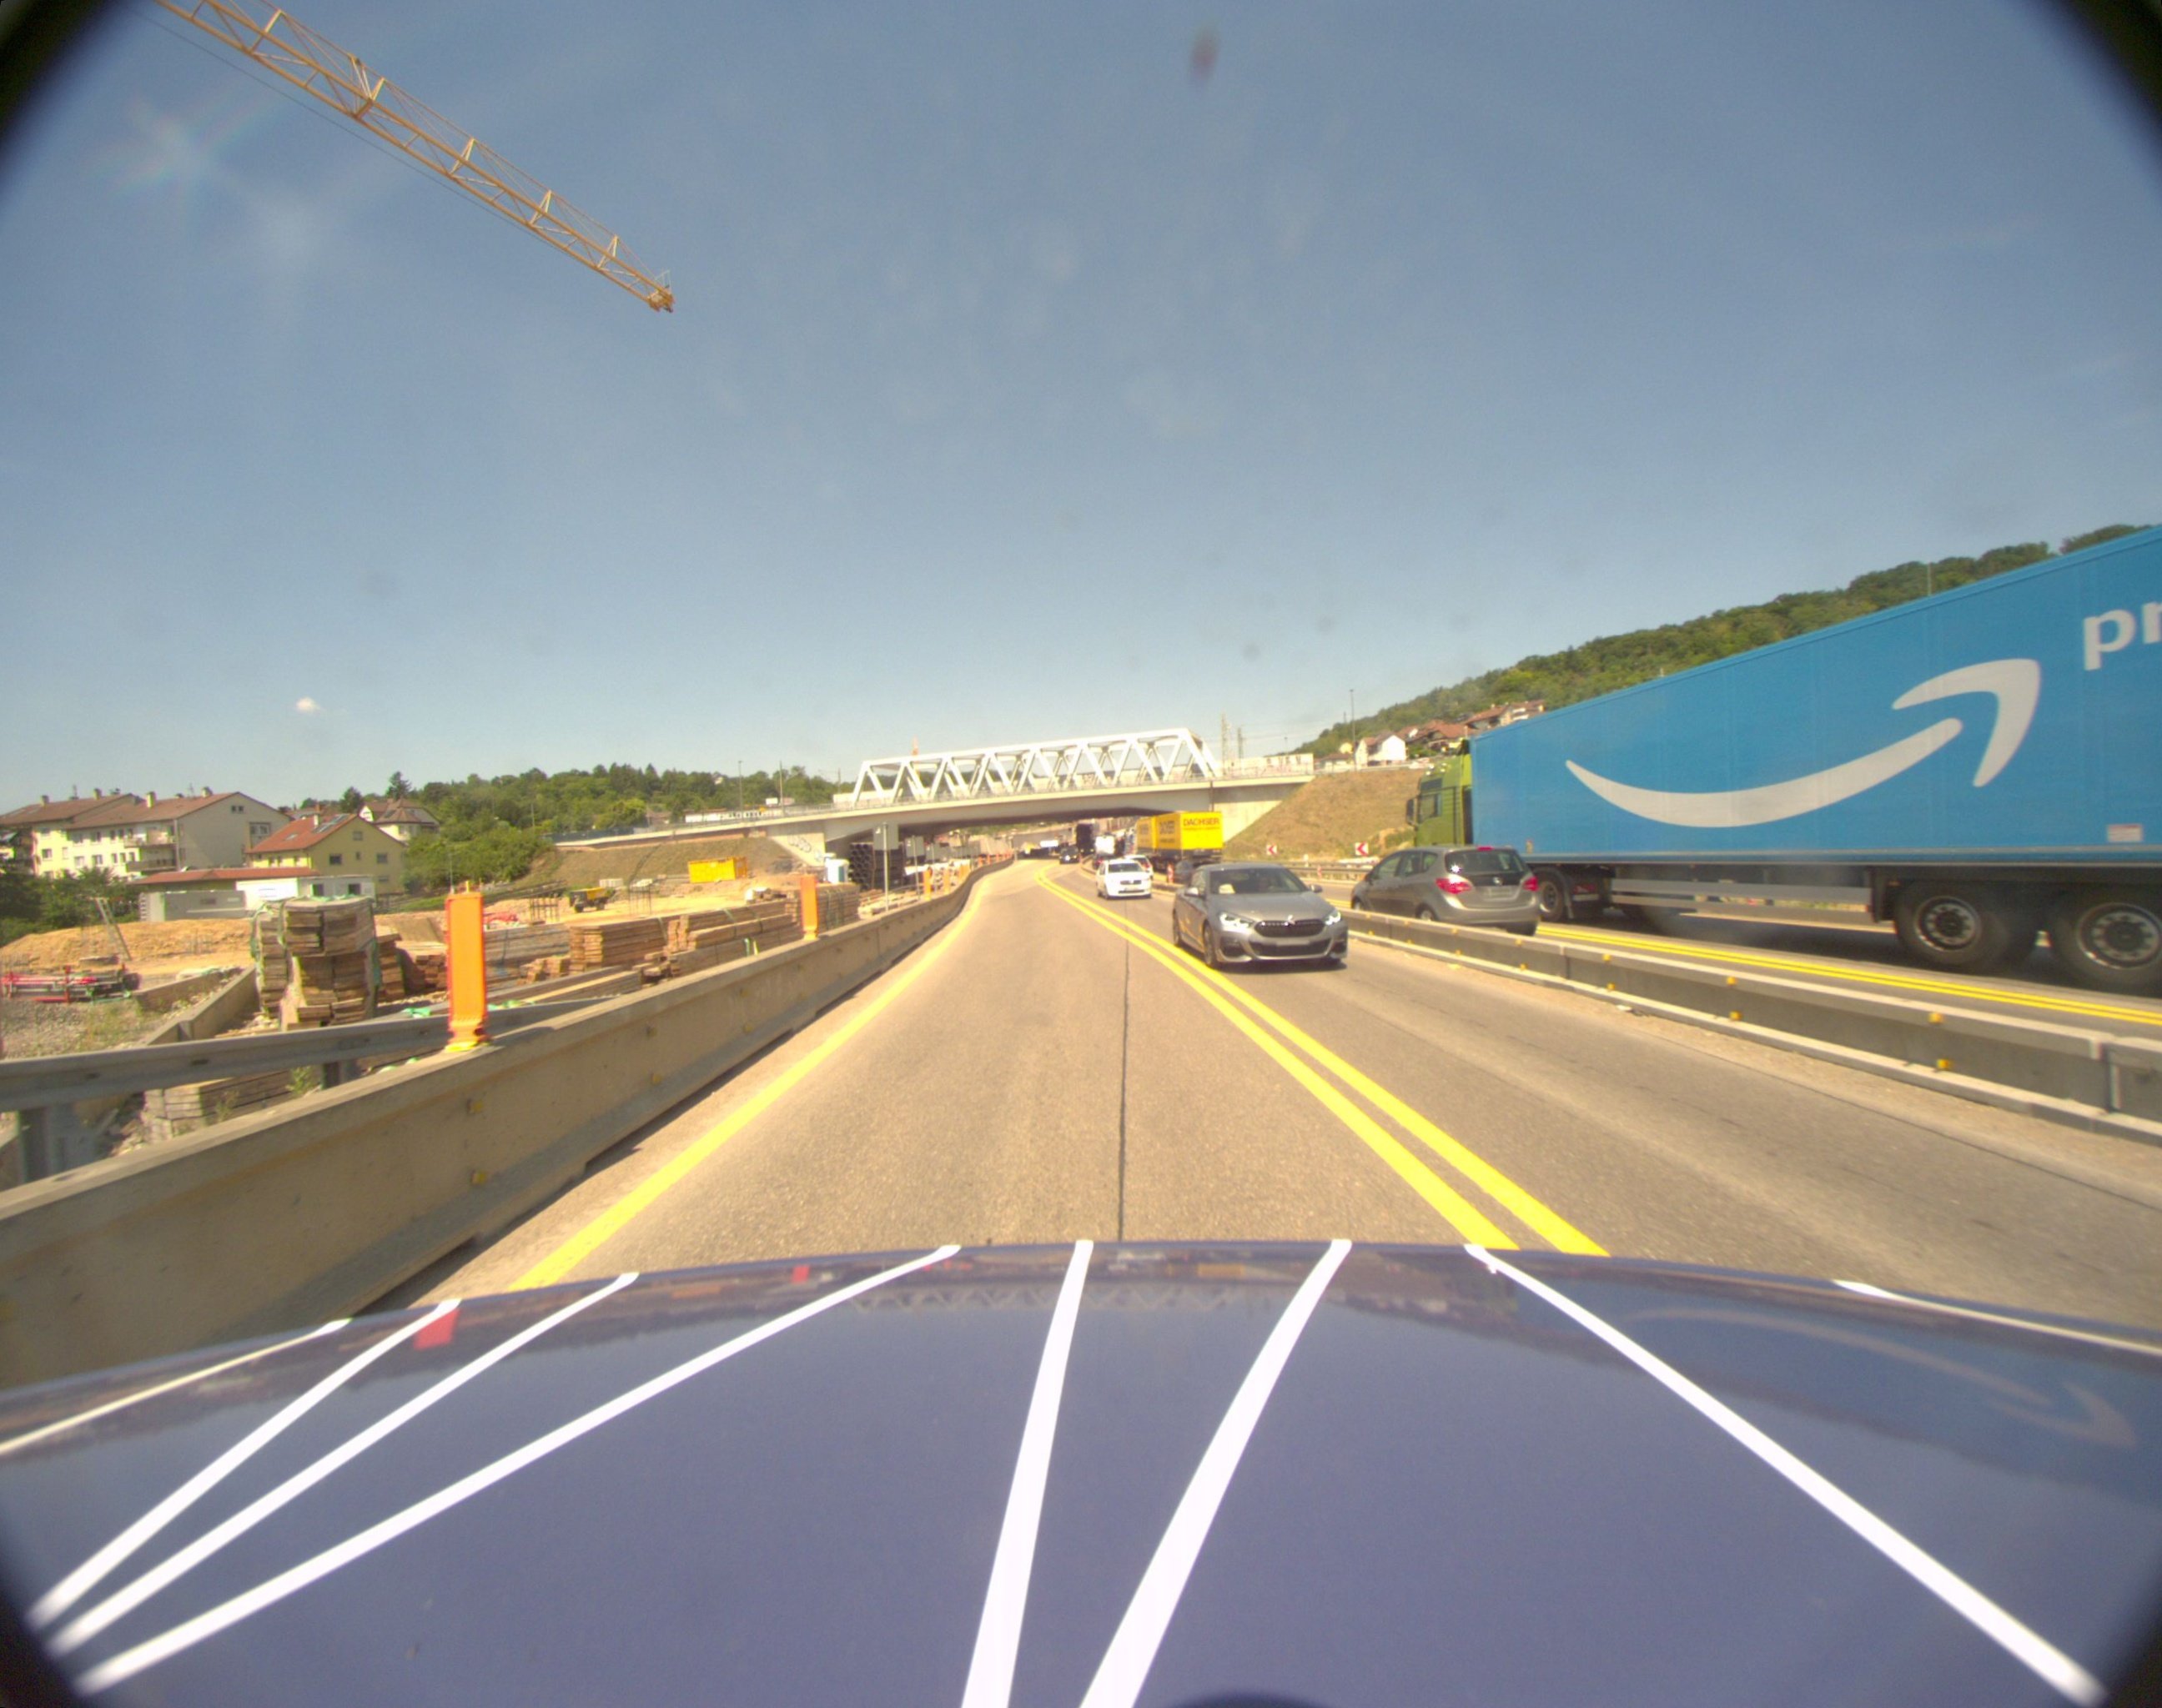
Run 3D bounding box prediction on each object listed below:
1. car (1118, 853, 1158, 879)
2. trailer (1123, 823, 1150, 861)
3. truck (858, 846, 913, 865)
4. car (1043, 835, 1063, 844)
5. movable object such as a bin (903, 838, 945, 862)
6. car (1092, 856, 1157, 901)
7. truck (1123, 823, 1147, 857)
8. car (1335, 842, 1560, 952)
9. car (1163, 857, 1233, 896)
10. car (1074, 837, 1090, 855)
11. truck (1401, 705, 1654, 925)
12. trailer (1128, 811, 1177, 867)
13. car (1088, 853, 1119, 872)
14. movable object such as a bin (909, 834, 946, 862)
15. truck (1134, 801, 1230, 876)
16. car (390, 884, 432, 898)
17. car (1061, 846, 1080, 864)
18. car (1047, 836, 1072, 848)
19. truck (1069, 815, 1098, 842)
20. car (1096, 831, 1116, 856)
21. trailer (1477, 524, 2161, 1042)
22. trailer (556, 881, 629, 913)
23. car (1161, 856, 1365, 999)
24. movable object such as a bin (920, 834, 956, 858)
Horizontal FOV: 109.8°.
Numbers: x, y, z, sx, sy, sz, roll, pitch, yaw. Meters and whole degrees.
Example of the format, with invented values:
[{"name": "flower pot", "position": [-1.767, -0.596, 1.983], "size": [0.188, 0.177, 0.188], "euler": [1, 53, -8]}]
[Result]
[{"name": "car", "position": [3.374, 0.707, 45.611], "size": [1.641, 1.477, 3.998], "euler": [-2, -1, -6]}, {"name": "trailer", "position": [5.990, -1.401, 83.350], "size": [2.531, 3.768, 10.243], "euler": [-3, 2, 3]}, {"name": "truck", "position": [-26.361, 0.185, 102.676], "size": [6.533, 2.062, 2.666], "euler": [-3, 3, 10]}, {"name": "car", "position": [-7.195, -3.686, 193.634], "size": [4.801, 1.759, 1.719], "euler": [-4, 3, 2]}, {"name": "movable object such as a bin", "position": [-22.948, -0.575, 111.136], "size": [5.248, 3.041, 2.496], "euler": [-4, 4, 11]}, {"name": "car", "position": [1.607, 0.894, 29.758], "size": [1.839, 1.465, 4.386], "euler": [-3, 1, -5]}, {"name": "truck", "position": [6.300, -1.673, 89.321], "size": [2.539, 3.801, 4.949], "euler": [-3, 2, 3]}, {"name": "car", "position": [6.286, 0.665, 13.676], "size": [1.825, 1.575, 4.300], "euler": [-3, 0, -1]}, {"name": "car", "position": [4.819, 0.885, 31.899], "size": [1.826, 1.427, 4.581], "euler": [-3, 0, -5]}, {"name": "car", "position": [0.180, -1.034, 98.849], "size": [1.998, 2.003, 3.997], "euler": [-3, 4, 1]}, {"name": "truck", "position": [9.960, -0.814, 17.572], "size": [2.633, 4.246, 4.729], "euler": [-4, 1, -4]}, {"name": "trailer", "position": [5.673, -1.217, 61.123], "size": [2.874, 4.206, 5.214], "euler": [-3, 2, -6]}, {"name": "car", "position": [1.738, 0.610, 59.970], "size": [1.682, 1.354, 4.500], "euler": [-3, 1, -7]}, {"name": "movable object such as a bin", "position": [-21.620, -0.899, 106.822], "size": [3.886, 3.524, 2.904], "euler": [-3, 4, 18]}, {"name": "truck", "position": [6.548, -1.005, 52.805], "size": [2.815, 4.317, 15.363], "euler": [-3, 1, -6]}, {"name": "car", "position": [-84.770, 4.706, 96.099], "size": [4.161, 1.500, 1.578], "euler": [-2, 4, 10]}, {"name": "car", "position": [-1.113, 0.093, 77.849], "size": [1.801, 1.543, 3.998], "euler": [-3, 2, -2]}, {"name": "car", "position": [-5.750, -3.264, 200.400], "size": [6.305, 2.567, 2.053], "euler": [-6, 2, -6]}, {"name": "truck", "position": [0.571, -4.396, 129.052], "size": [3.461, 4.026, 10.208], "euler": [-2, 4, 7]}, {"name": "car", "position": [2.884, -1.190, 85.853], "size": [2.076, 2.490, 6.481], "euler": [-3, 3, 2]}, {"name": "trailer", "position": [10.205, -0.706, 10.077], "size": [2.654, 4.268, 13.305], "euler": [-4, 1, 0]}, {"name": "trailer", "position": [-28.917, 2.506, 45.112], "size": [1.627, 1.478, 3.825], "euler": [-4, 2, 3]}, {"name": "car", "position": [2.434, 0.894, 11.377], "size": [1.838, 1.588, 4.388], "euler": [-3, 1, -2]}, {"name": "movable object such as a bin", "position": [-22.224, -1.221, 118.336], "size": [4.561, 3.270, 2.990], "euler": [-4, 4, 11]}]
